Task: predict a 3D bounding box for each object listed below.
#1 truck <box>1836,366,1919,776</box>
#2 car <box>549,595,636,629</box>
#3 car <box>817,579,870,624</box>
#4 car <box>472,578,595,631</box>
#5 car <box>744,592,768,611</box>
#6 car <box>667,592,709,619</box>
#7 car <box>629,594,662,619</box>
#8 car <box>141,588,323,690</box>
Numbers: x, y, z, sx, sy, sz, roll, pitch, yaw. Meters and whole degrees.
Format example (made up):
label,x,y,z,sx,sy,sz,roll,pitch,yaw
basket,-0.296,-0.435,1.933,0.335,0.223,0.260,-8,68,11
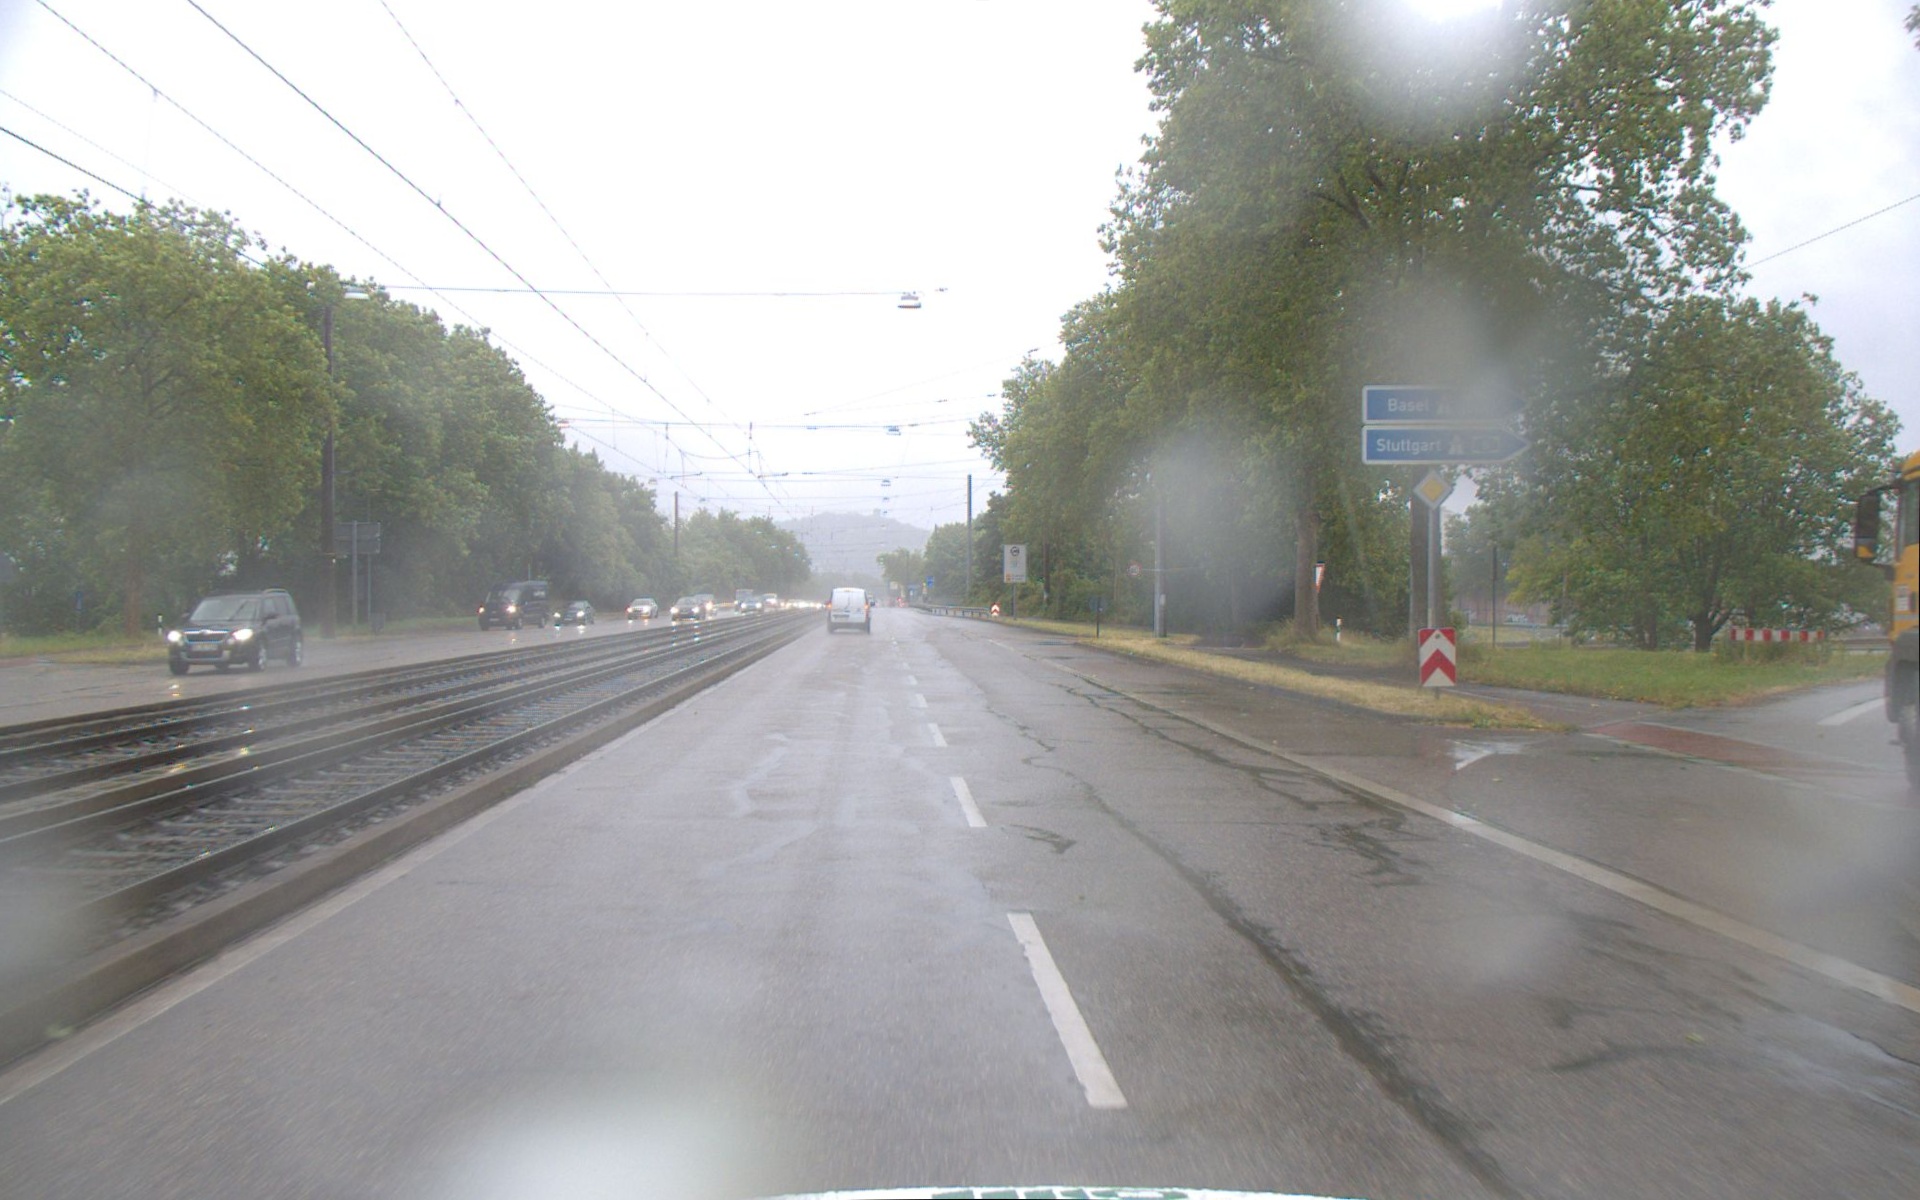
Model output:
label,x,y,z,sx,sy,sz,roll,pitch,yaw
truck,8.758,-0.206,12.325,2.502,3.314,6.937,1,1,16
car,-21.278,0.674,95.943,2.048,1.829,4.745,2,1,36
car,-4.688,0.030,67.201,1.949,1.713,3.739,1,1,-2
car,-21.154,0.187,82.331,2.292,2.468,5.829,2,1,35
car,-18.545,0.117,150.196,1.740,1.612,5.678,1,1,-3
car,-17.488,0.304,106.440,1.754,1.576,5.314,1,1,0
car,-23.551,0.489,123.981,1.783,1.735,5.018,1,1,-3
car,-14.913,0.727,34.189,1.850,1.841,5.000,1,1,-5
